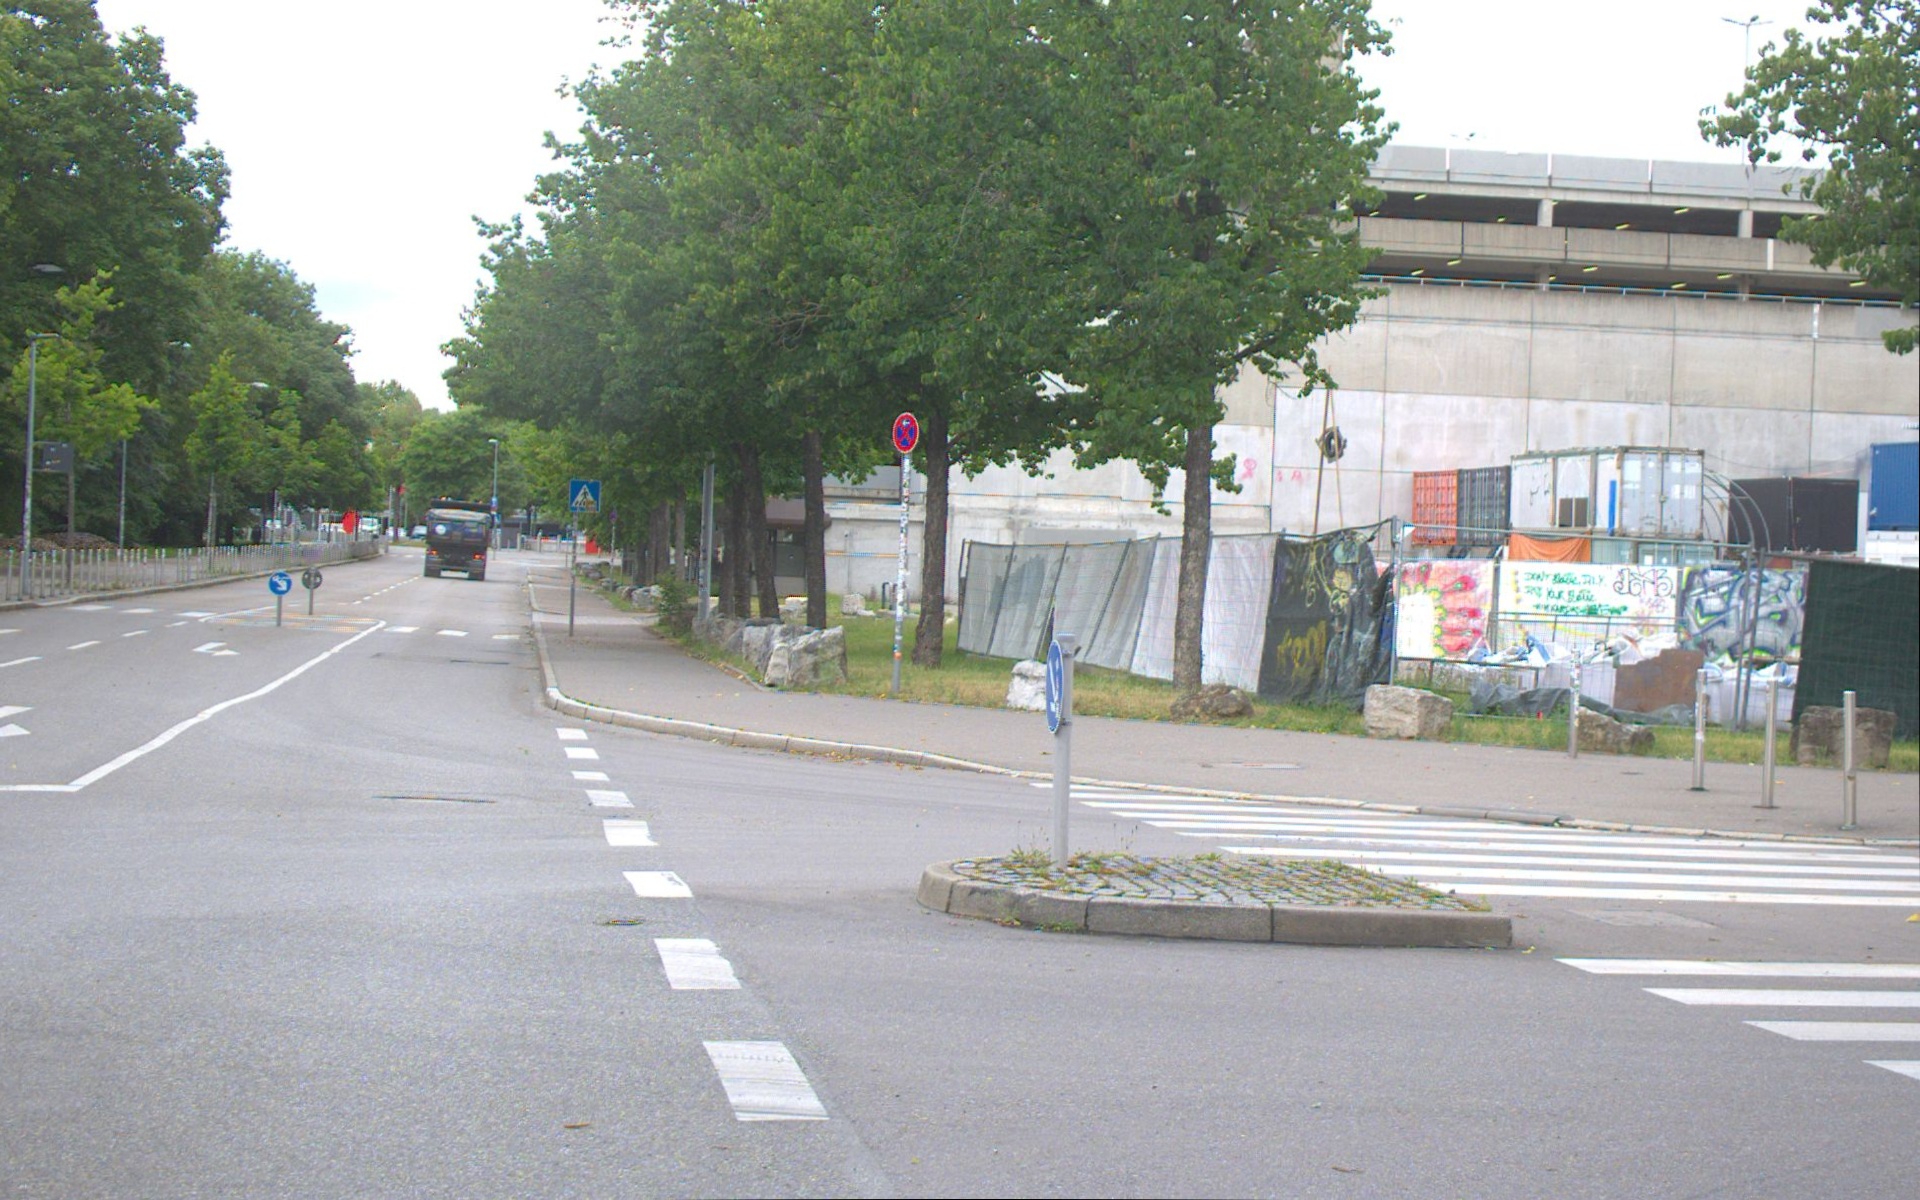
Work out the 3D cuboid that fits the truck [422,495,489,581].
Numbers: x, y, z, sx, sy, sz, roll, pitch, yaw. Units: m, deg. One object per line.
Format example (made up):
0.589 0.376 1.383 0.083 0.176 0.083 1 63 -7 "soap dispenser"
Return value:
-21.335 -2.576 145.525 2.672 3.546 7.925 0 0 -8 "truck"
